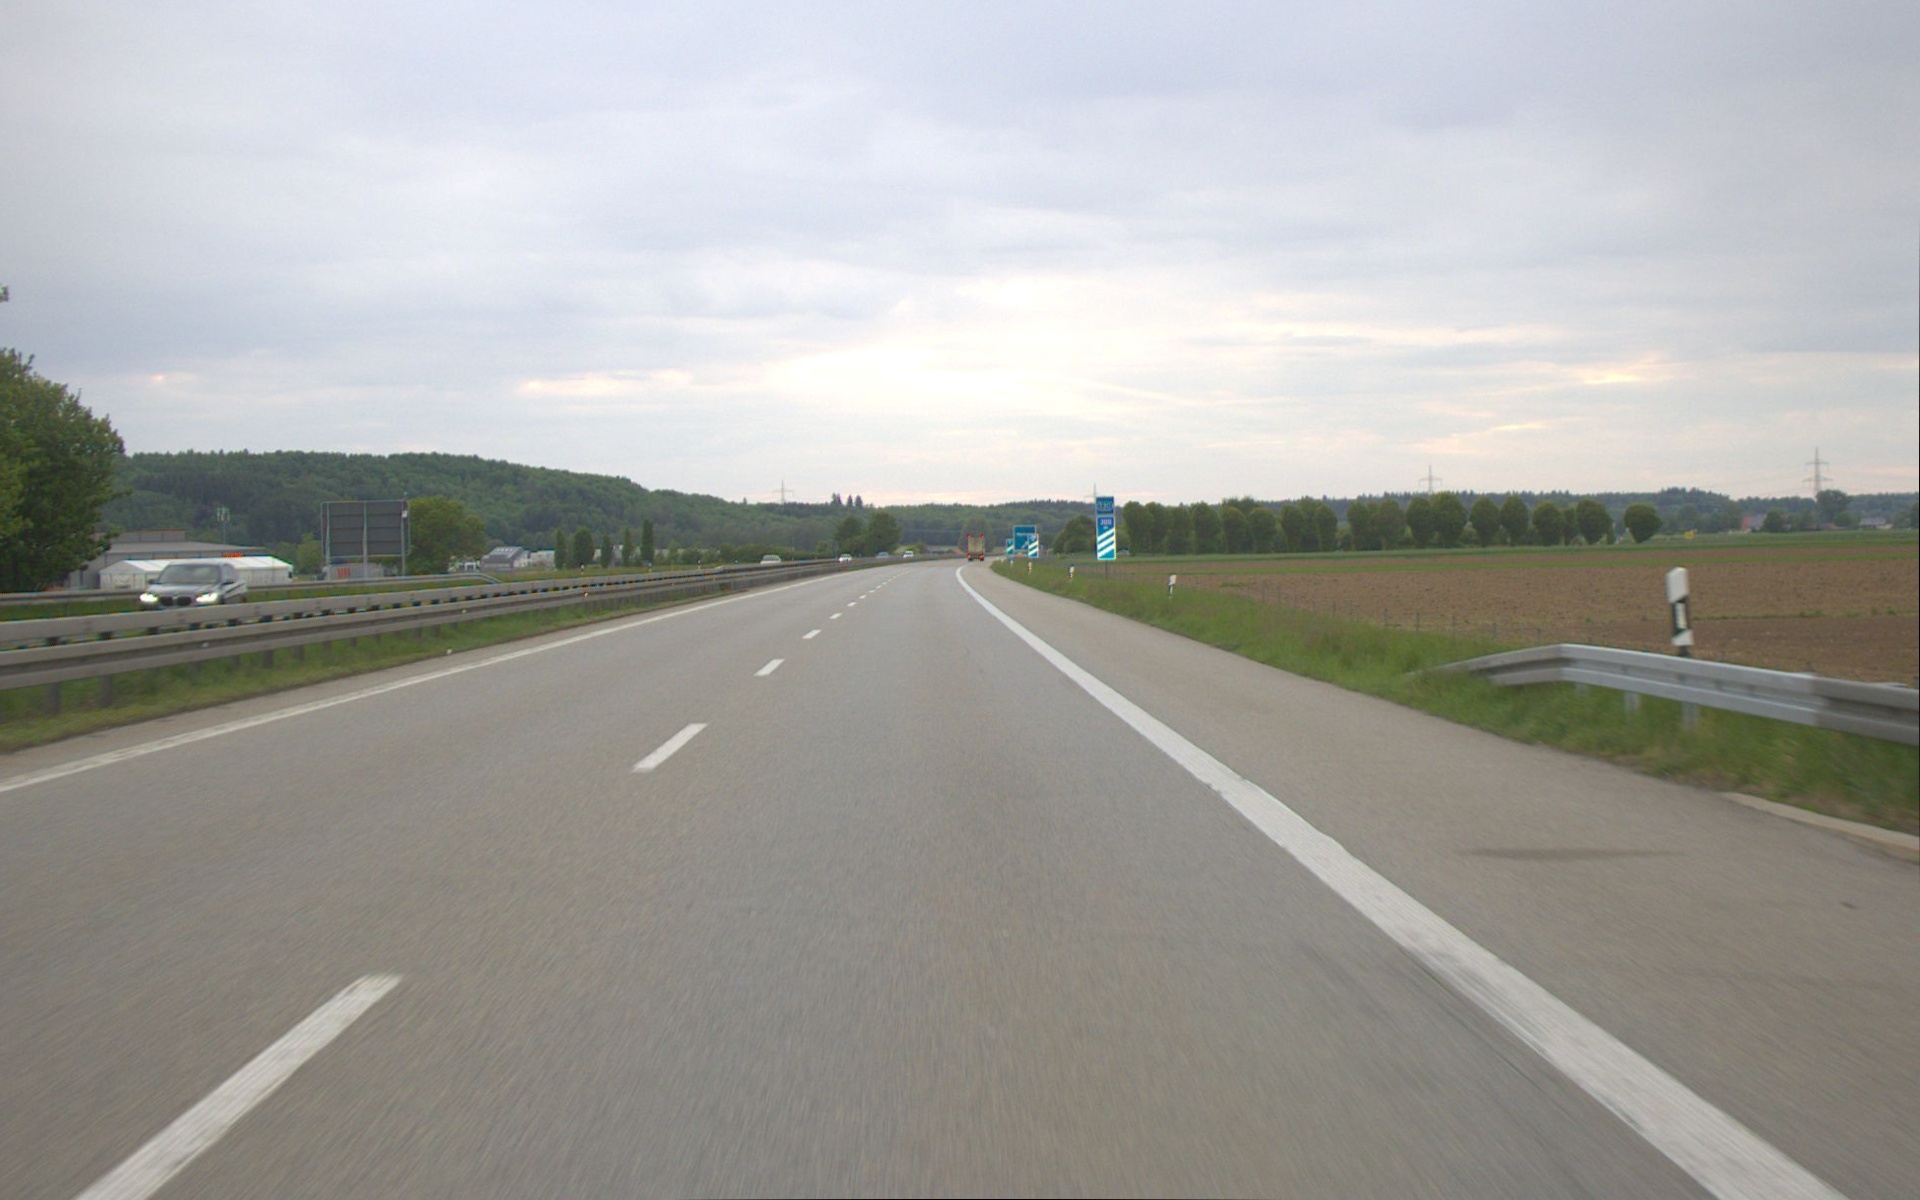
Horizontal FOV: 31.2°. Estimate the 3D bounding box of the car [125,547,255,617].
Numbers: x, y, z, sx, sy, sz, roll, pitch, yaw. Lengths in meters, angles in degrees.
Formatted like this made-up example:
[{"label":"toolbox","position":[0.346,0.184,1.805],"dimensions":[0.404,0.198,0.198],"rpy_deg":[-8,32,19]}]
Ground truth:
[{"label":"car","position":[-17.973,-0.446,80.481],"dimensions":[1.993,1.577,4.809],"rpy_deg":[1,1,-1]}]
